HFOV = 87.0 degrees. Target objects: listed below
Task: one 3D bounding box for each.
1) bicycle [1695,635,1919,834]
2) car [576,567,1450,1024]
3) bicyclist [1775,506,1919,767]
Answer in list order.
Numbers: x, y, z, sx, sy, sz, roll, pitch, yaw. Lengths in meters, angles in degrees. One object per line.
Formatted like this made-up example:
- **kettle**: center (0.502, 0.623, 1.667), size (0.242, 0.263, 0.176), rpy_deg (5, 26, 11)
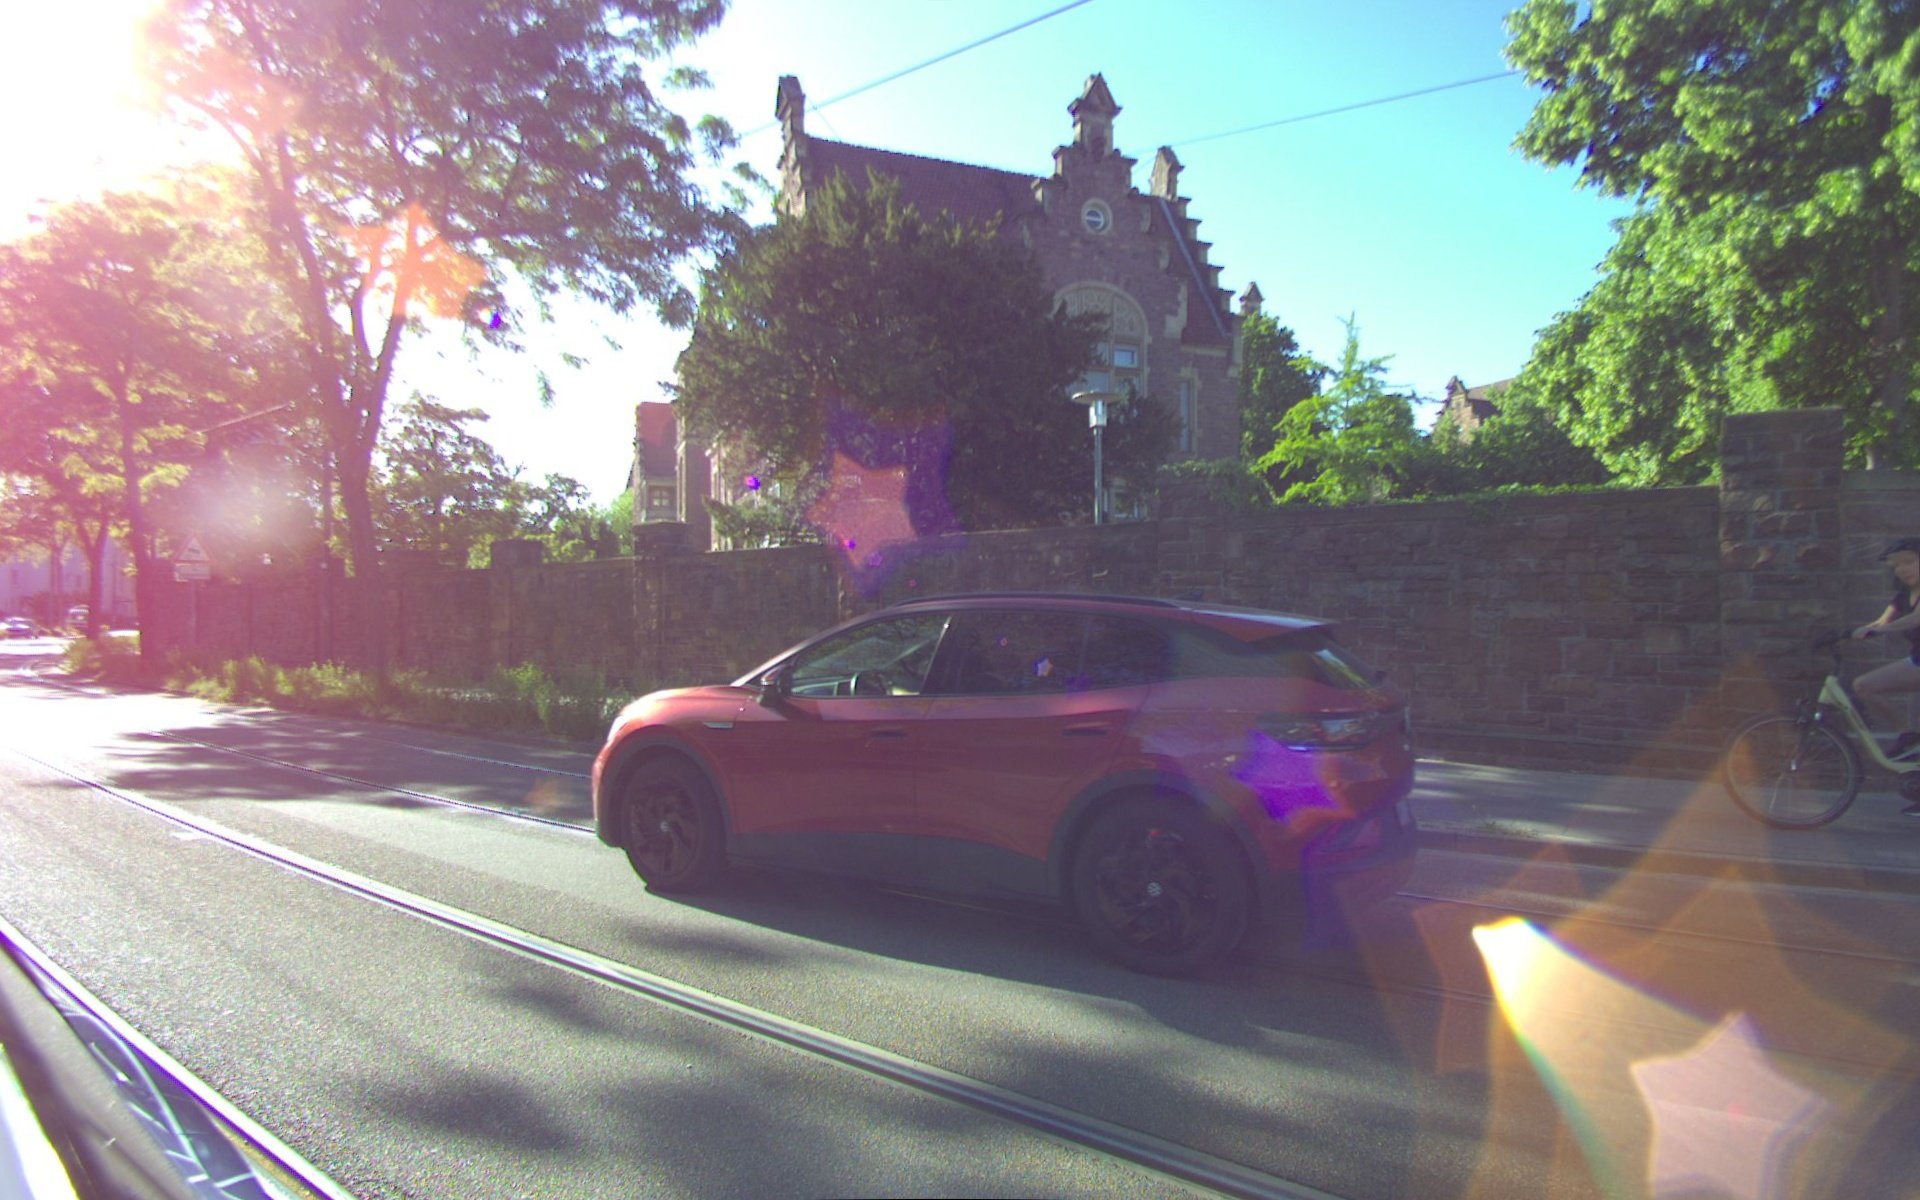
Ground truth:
- **bicycle**: center (5.682, 0.767, 5.963), size (2.045, 1.097, 0.683), rpy_deg (-1, -1, 16)
- **car**: center (0.188, 0.734, 5.428), size (4.338, 1.619, 1.807), rpy_deg (-1, -1, 28)
- **bicyclist**: center (5.670, 0.205, 5.968), size (1.142, 1.470, 0.651), rpy_deg (-1, -1, 16)
